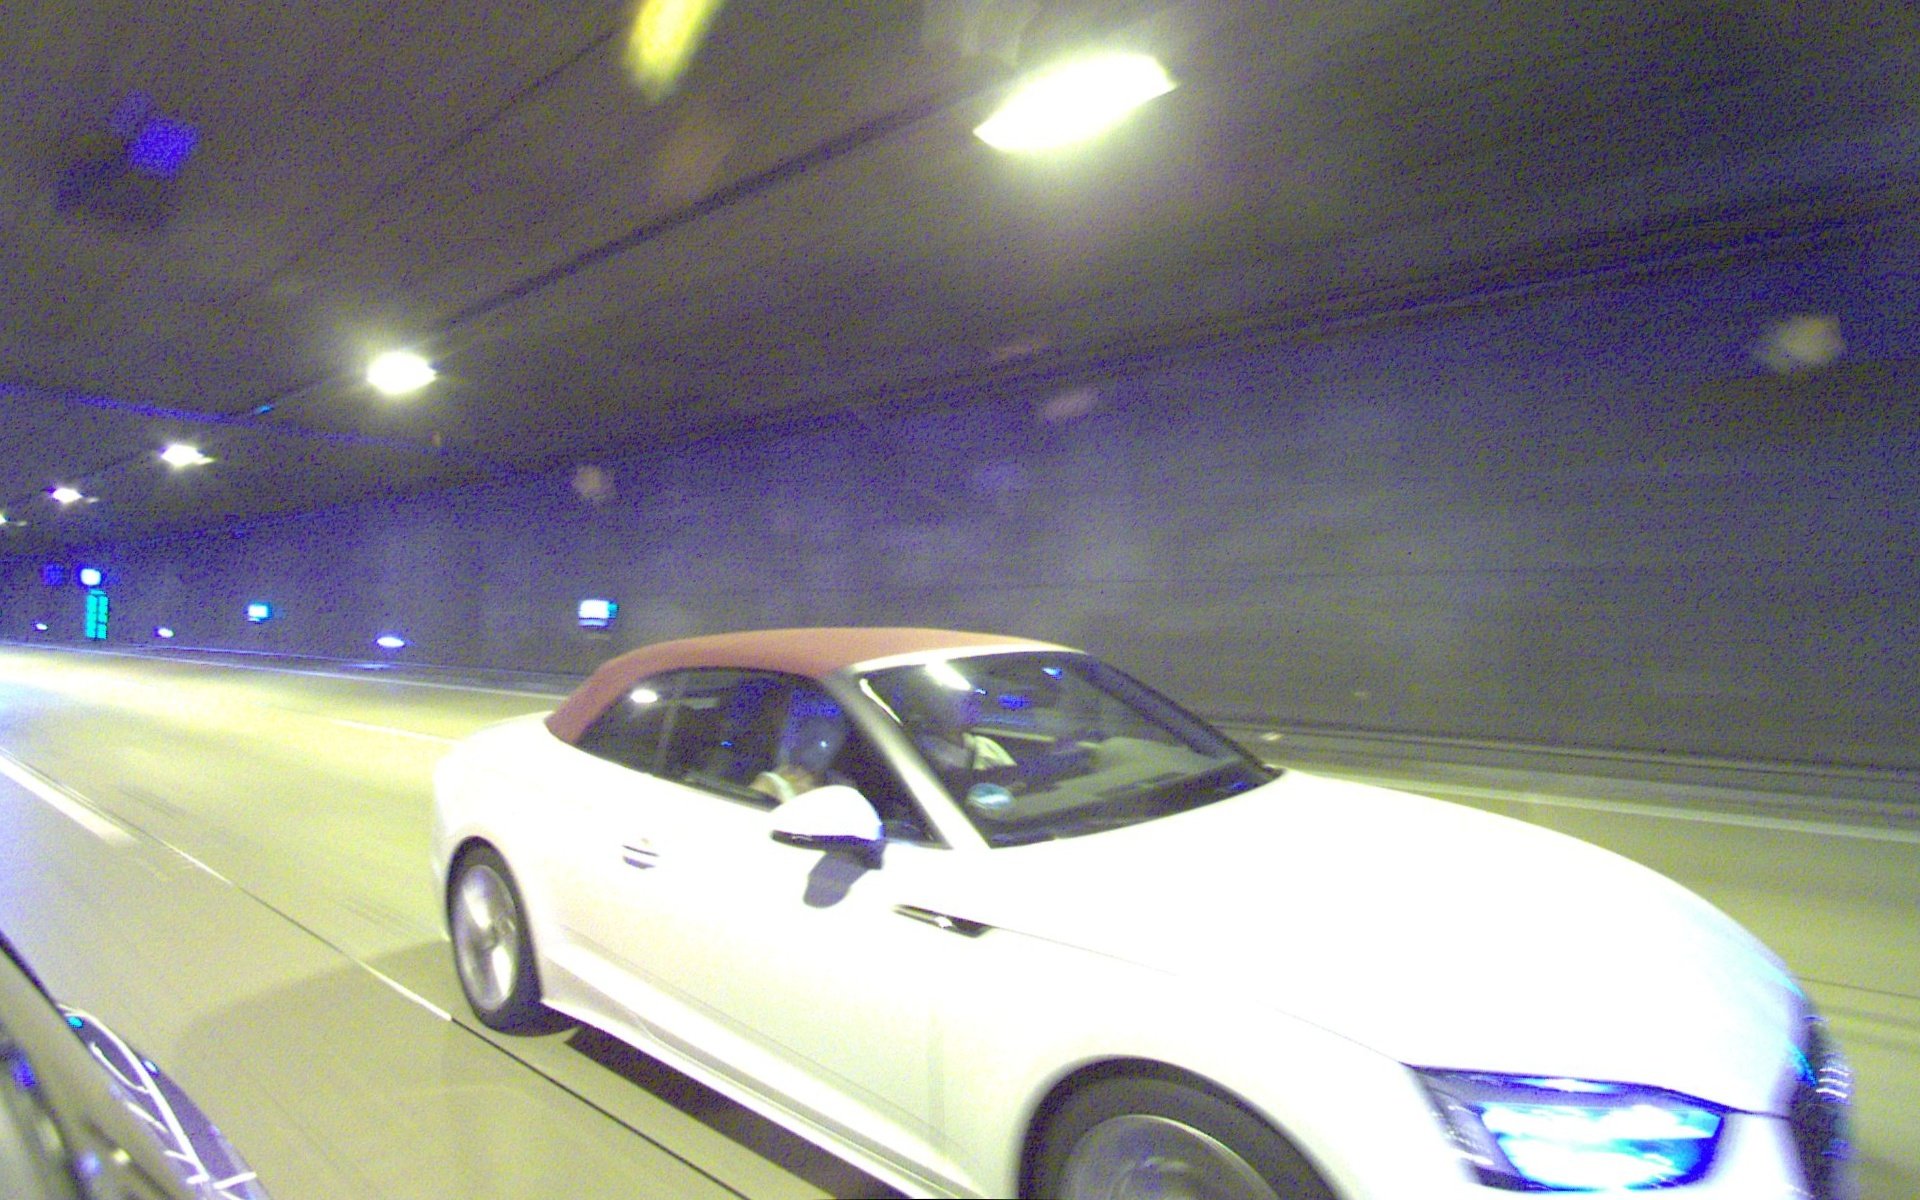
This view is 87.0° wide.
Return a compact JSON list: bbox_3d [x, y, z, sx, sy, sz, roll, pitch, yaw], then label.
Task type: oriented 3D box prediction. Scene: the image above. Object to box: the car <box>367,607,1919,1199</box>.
[{"bbox_3d":[0.023,0.737,3.090,5.058,1.429,1.684,0,-1,42],"label":"car"}]
